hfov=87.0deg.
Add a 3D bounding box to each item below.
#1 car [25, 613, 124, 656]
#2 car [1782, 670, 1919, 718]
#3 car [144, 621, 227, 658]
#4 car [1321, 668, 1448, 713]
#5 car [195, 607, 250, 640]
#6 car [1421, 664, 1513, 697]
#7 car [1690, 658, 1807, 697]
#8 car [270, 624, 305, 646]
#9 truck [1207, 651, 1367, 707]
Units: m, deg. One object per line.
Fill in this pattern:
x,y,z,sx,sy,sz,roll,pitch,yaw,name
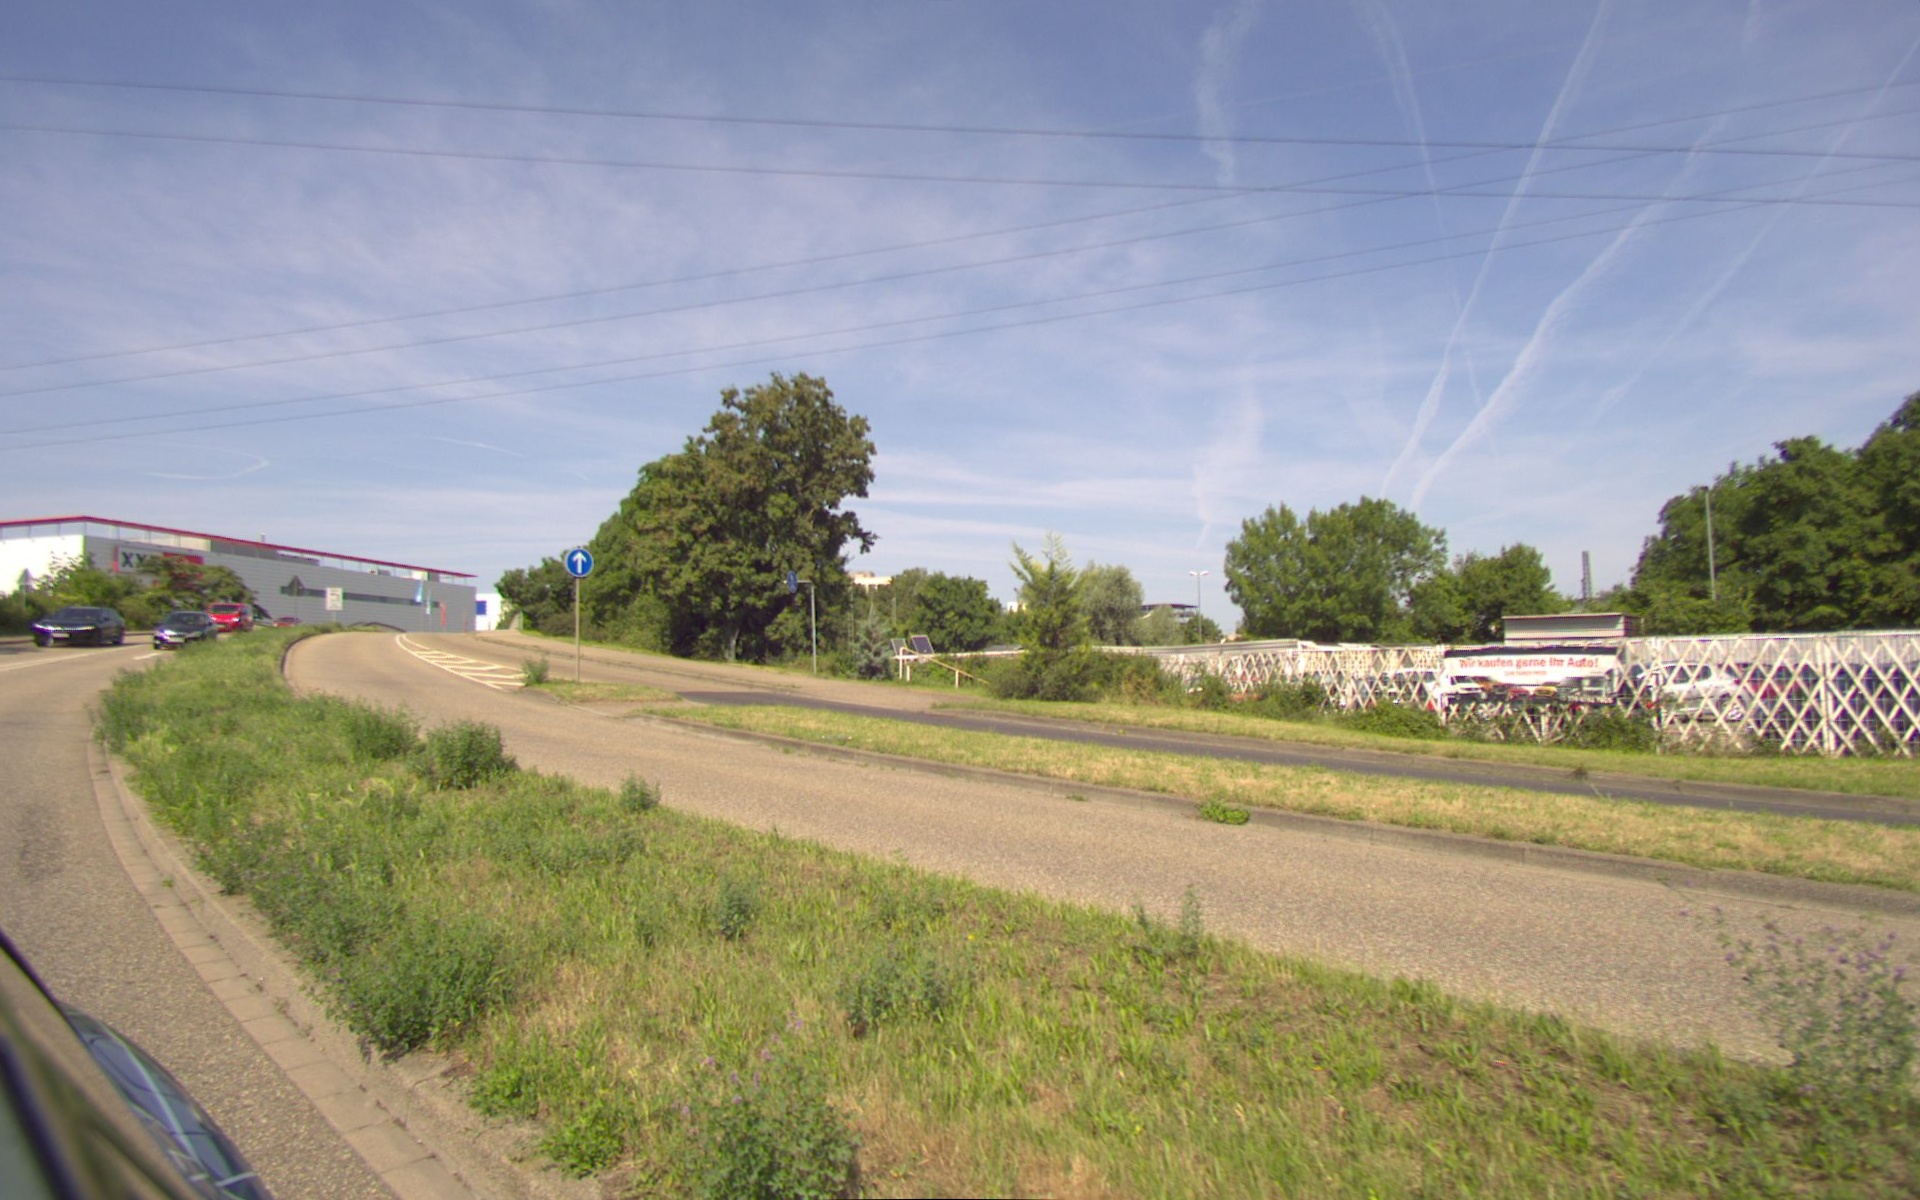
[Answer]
-34.427,1.322,39.475,1.830,1.541,4.157,2,-2,-26,car
25.971,2.681,29.140,3.137,1.303,1.597,-1,-4,2,car
-31.223,1.581,40.928,1.819,1.429,4.013,0,-2,-25,car
12.937,2.759,30.990,3.137,1.303,1.597,-1,-4,2,car
-45.609,1.428,62.690,1.955,1.921,4.158,2,0,-25,car
20.821,3.312,41.680,1.572,1.303,3.189,0,-4,-16,car
28.337,2.777,36.397,3.127,1.303,1.603,0,-4,-13,car
-53.801,2.763,81.040,1.748,1.671,4.157,3,-3,-26,car
13.406,3.271,42.019,2.452,2.130,6.391,1,-5,-27,truck
